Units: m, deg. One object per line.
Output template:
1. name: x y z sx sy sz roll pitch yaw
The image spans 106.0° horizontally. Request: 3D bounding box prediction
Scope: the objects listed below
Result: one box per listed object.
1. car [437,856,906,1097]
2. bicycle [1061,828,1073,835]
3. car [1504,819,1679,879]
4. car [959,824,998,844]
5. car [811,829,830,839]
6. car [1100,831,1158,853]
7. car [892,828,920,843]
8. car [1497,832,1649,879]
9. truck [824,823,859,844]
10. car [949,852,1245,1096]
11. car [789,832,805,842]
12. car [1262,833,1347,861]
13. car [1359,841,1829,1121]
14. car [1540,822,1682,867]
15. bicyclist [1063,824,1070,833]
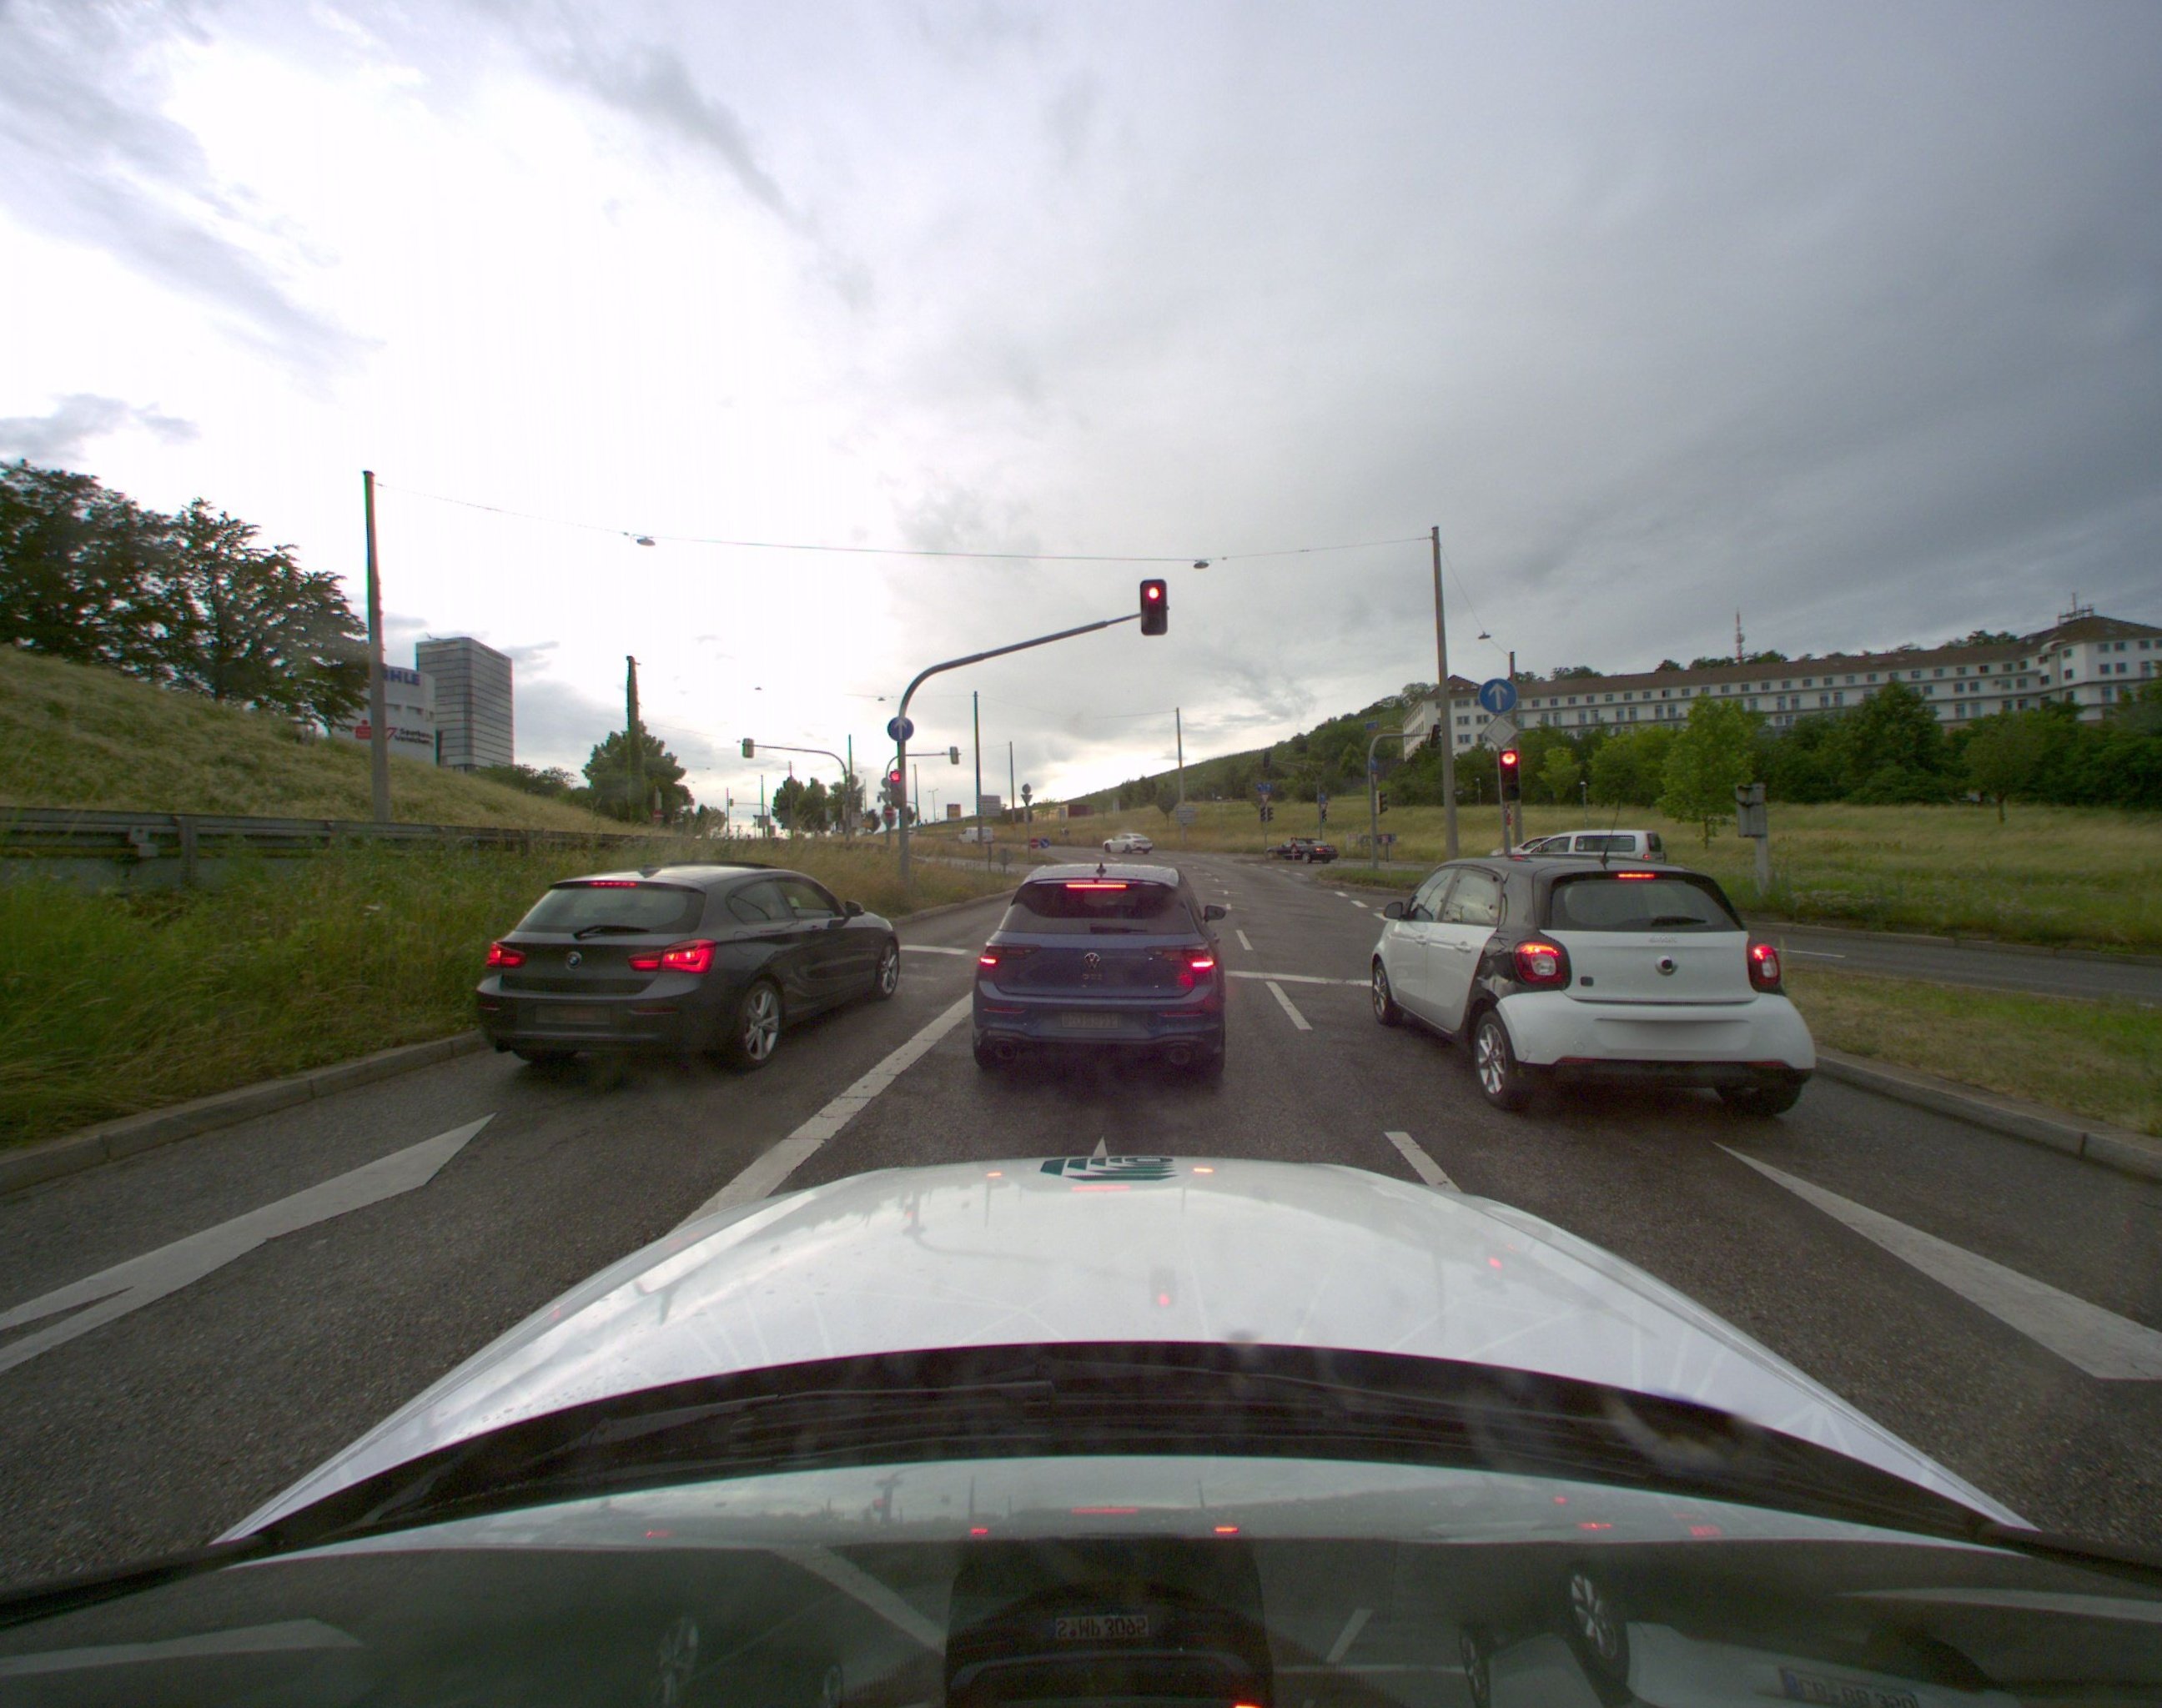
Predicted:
1. car: -2.973 0.780 7.050 1.694 1.460 4.119 -1 -1 5
2. bicycle: -1.629 -2.538 91.859 0.522 0.775 1.604 2 0 -35
3. car: 17.014 -0.105 27.354 1.831 1.850 4.643 0 -1 -40
4. car: -10.469 -2.029 82.908 2.143 1.794 4.692 0 -1 -32
5. car: -45.326 -3.508 141.858 2.008 1.659 4.498 0 0 -33
6. car: 3.538 -0.870 60.840 2.008 1.477 4.373 0 -1 -35
7. car: -21.980 -2.323 102.019 2.008 1.659 4.497 0 -1 -33
8. car: 18.387 0.091 30.592 2.010 1.620 4.472 0 -1 -39
9. truck: -37.043 -3.184 125.784 3.281 3.074 6.111 2 0 -35
10. car: 0.280 0.735 6.923 1.816 1.460 3.814 -1 0 6
11. car: -55.962 -3.335 160.640 2.007 1.659 4.498 0 -1 -32
12. car: 12.667 -0.354 46.465 2.008 1.477 4.456 0 -1 -33
13. car: 3.375 0.711 6.182 1.649 1.503 3.456 -1 -1 6
14. car: 21.285 -0.327 32.868 2.008 1.637 4.373 0 -1 -35
15. bicyclist: -1.618 -2.885 91.851 0.527 1.046 0.574 2 0 -35
